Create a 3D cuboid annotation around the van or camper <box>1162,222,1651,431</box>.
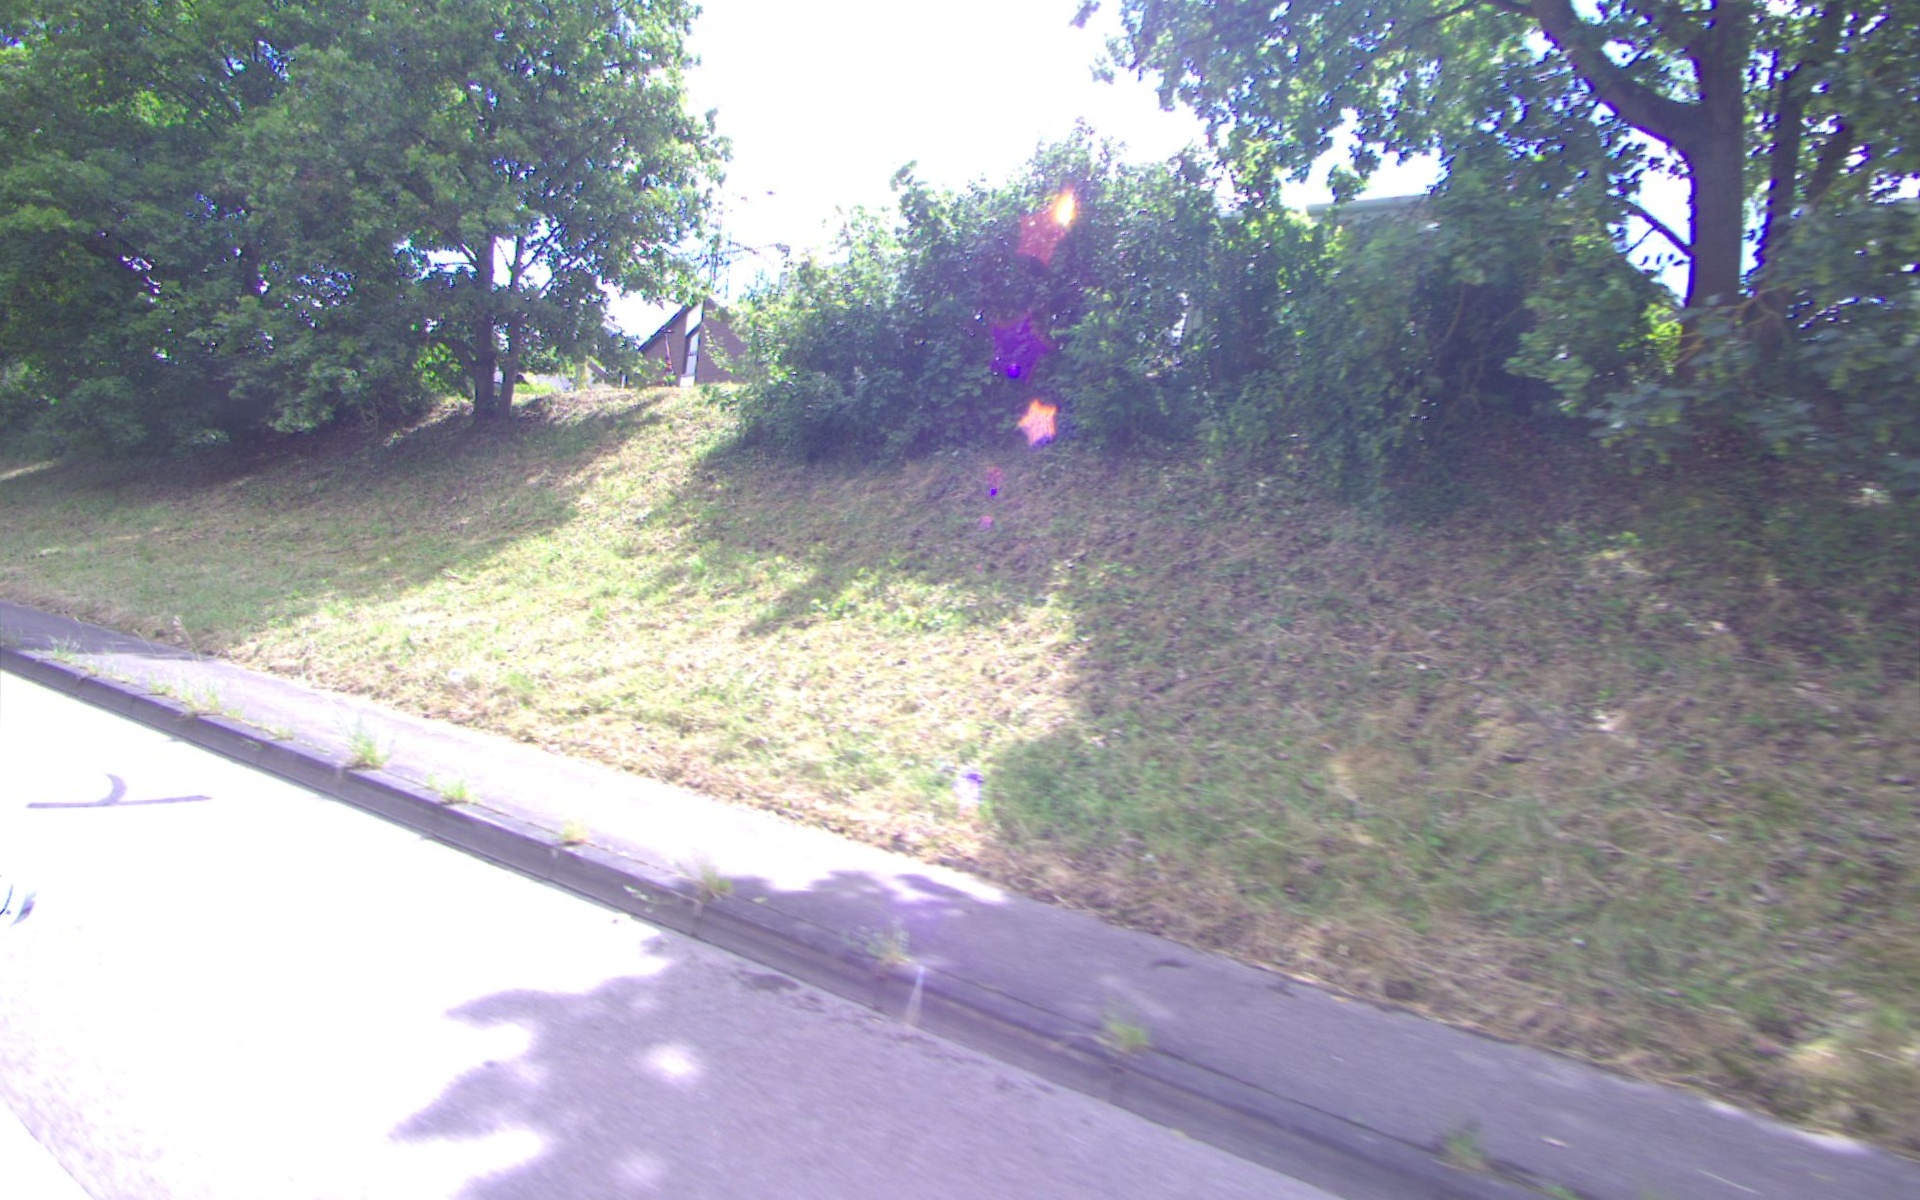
[{"bbox_3d":[6.390,-3.875,14.997,6.057,2.094,2.221,7,-1,29],"label":"van or camper"}]
